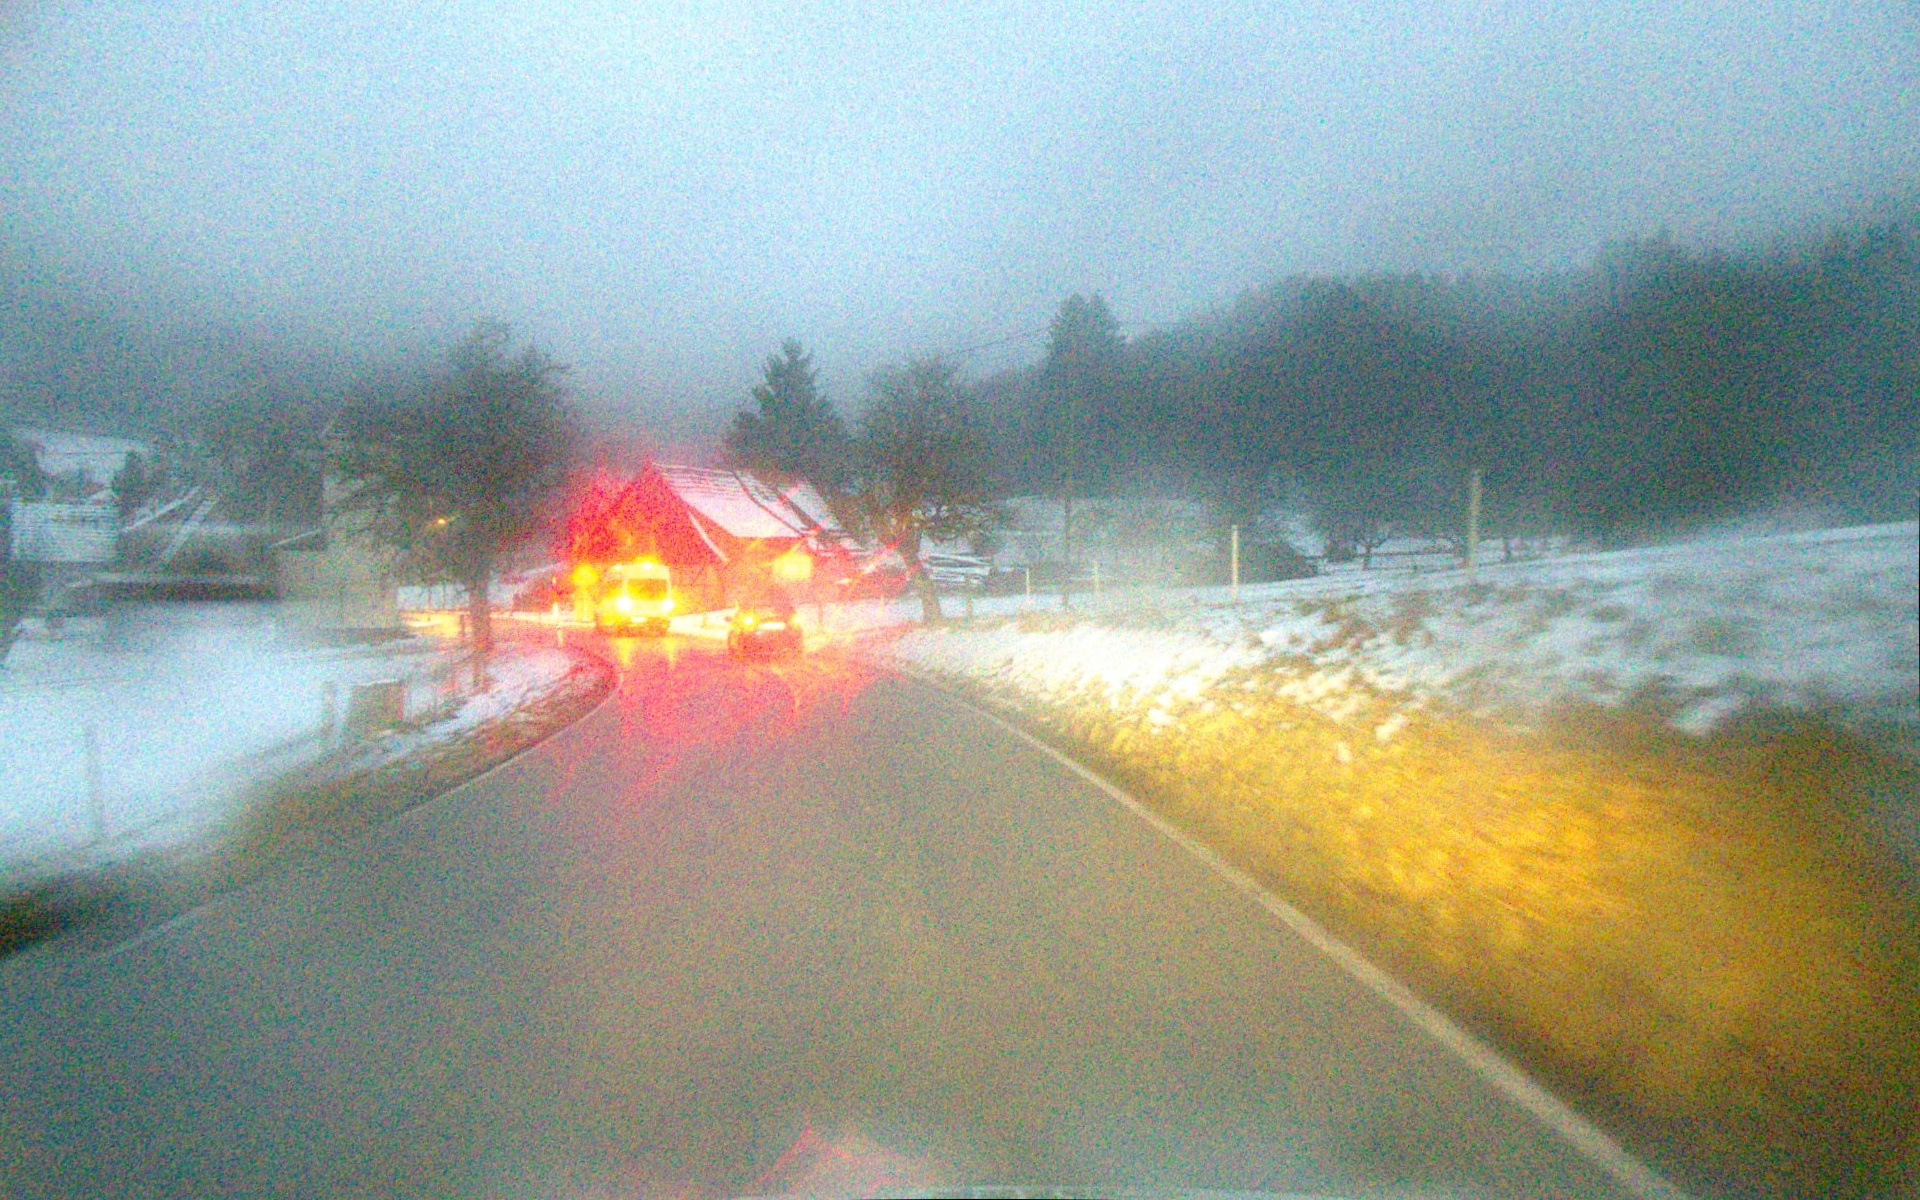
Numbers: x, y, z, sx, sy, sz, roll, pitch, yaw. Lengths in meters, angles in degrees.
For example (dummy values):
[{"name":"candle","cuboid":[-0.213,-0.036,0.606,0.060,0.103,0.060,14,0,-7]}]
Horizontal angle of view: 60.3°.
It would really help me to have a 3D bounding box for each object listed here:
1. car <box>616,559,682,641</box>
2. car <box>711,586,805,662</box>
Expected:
[{"name":"car","cuboid":[-12.300,0.045,65.103,2.393,3.071,5.308,-1,-1,-12]},{"name":"car","cuboid":[-5.556,0.645,44.928,2.233,1.873,4.994,-2,0,-10]}]
